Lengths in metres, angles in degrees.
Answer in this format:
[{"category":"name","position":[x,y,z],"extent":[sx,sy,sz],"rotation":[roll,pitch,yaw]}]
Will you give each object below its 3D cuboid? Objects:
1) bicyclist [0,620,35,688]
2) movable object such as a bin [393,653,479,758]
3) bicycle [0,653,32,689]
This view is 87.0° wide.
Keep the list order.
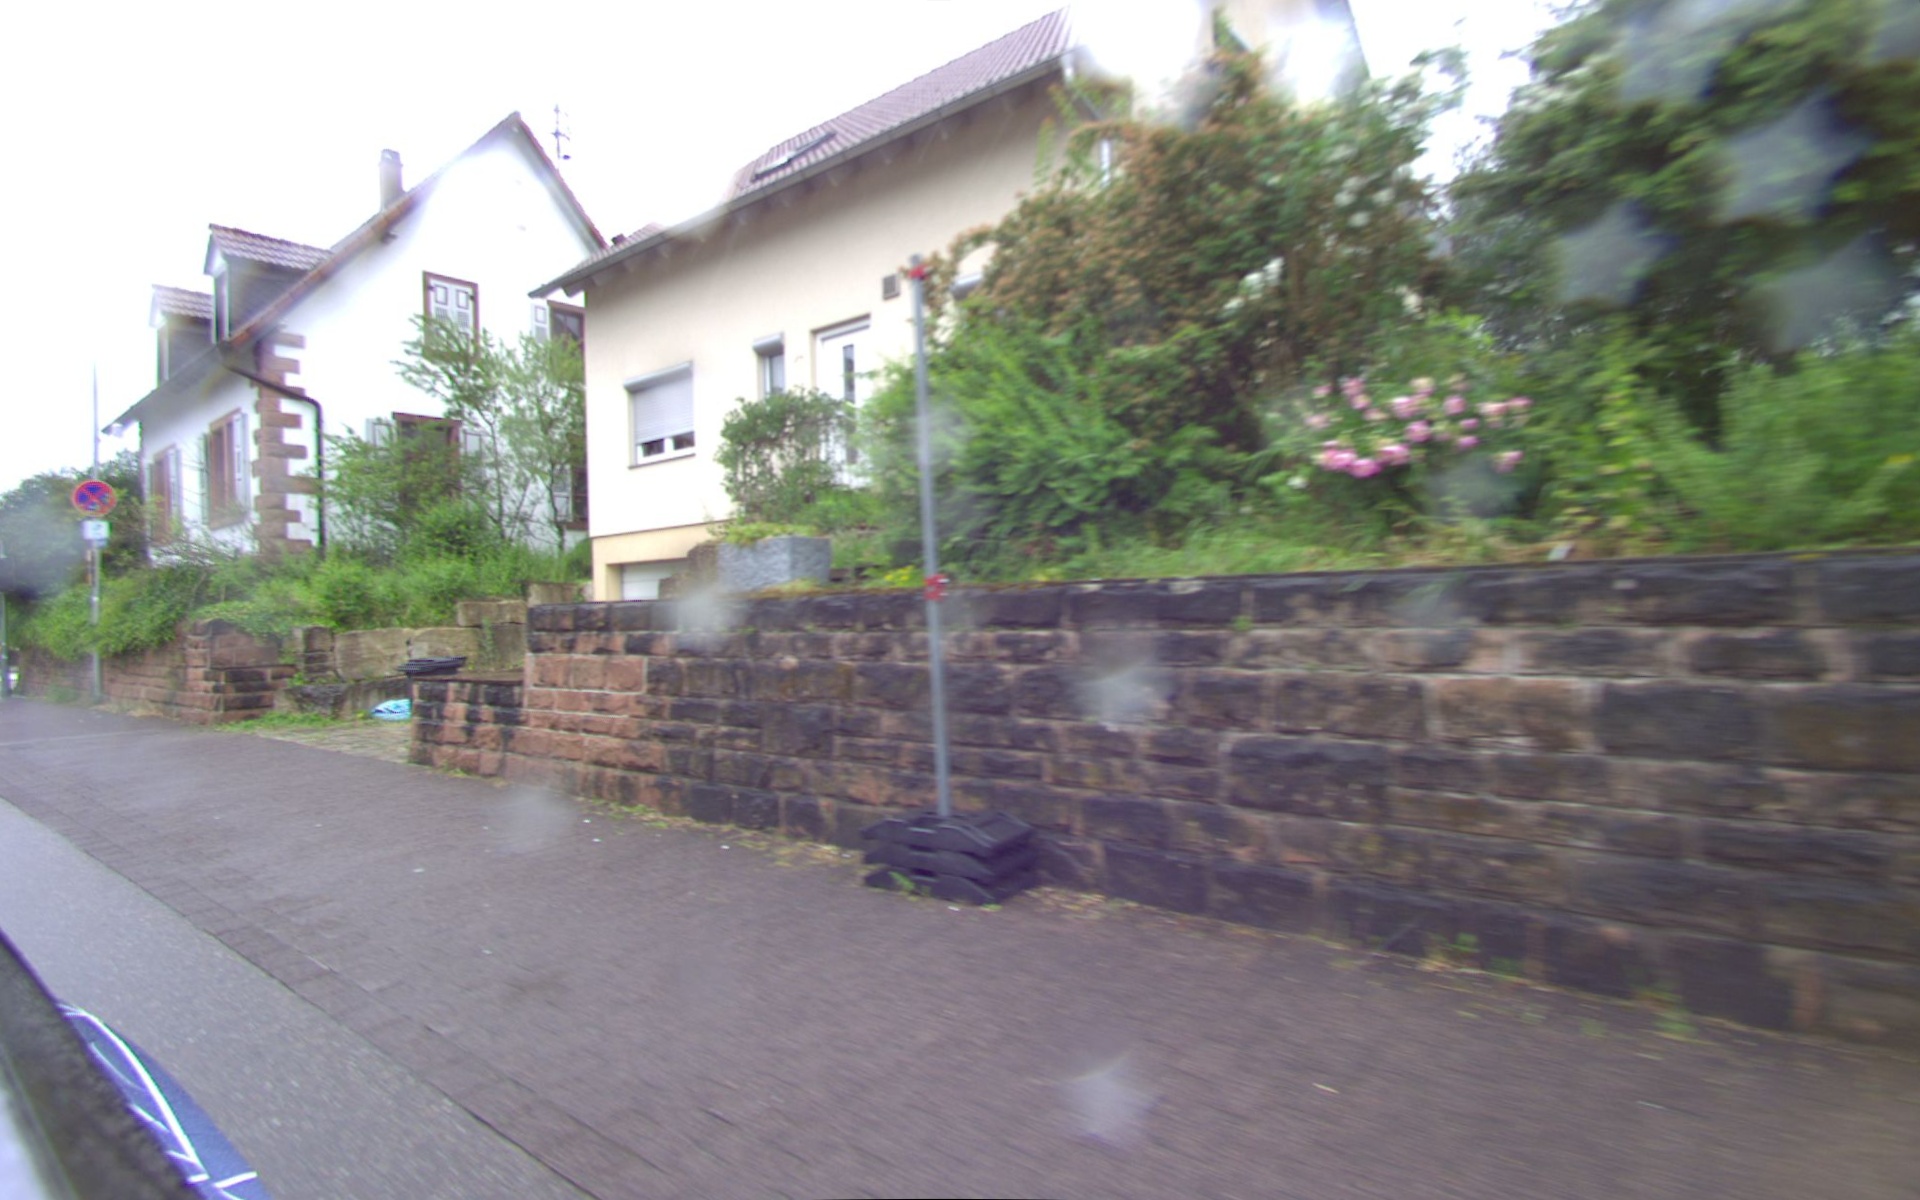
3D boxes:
[{"category":"bicyclist","position":[-25.596,1.468,27.330],"extent":[0.647,1.783,0.706],"rotation":[-3,-1,-23]},{"category":"movable object such as a bin","position":[-5.084,1.001,9.822],"extent":[0.543,0.937,0.533],"rotation":[-1,1,37]},{"category":"bicycle","position":[-25.630,1.925,27.332],"extent":[1.934,0.877,0.654],"rotation":[-5,-1,43]}]
